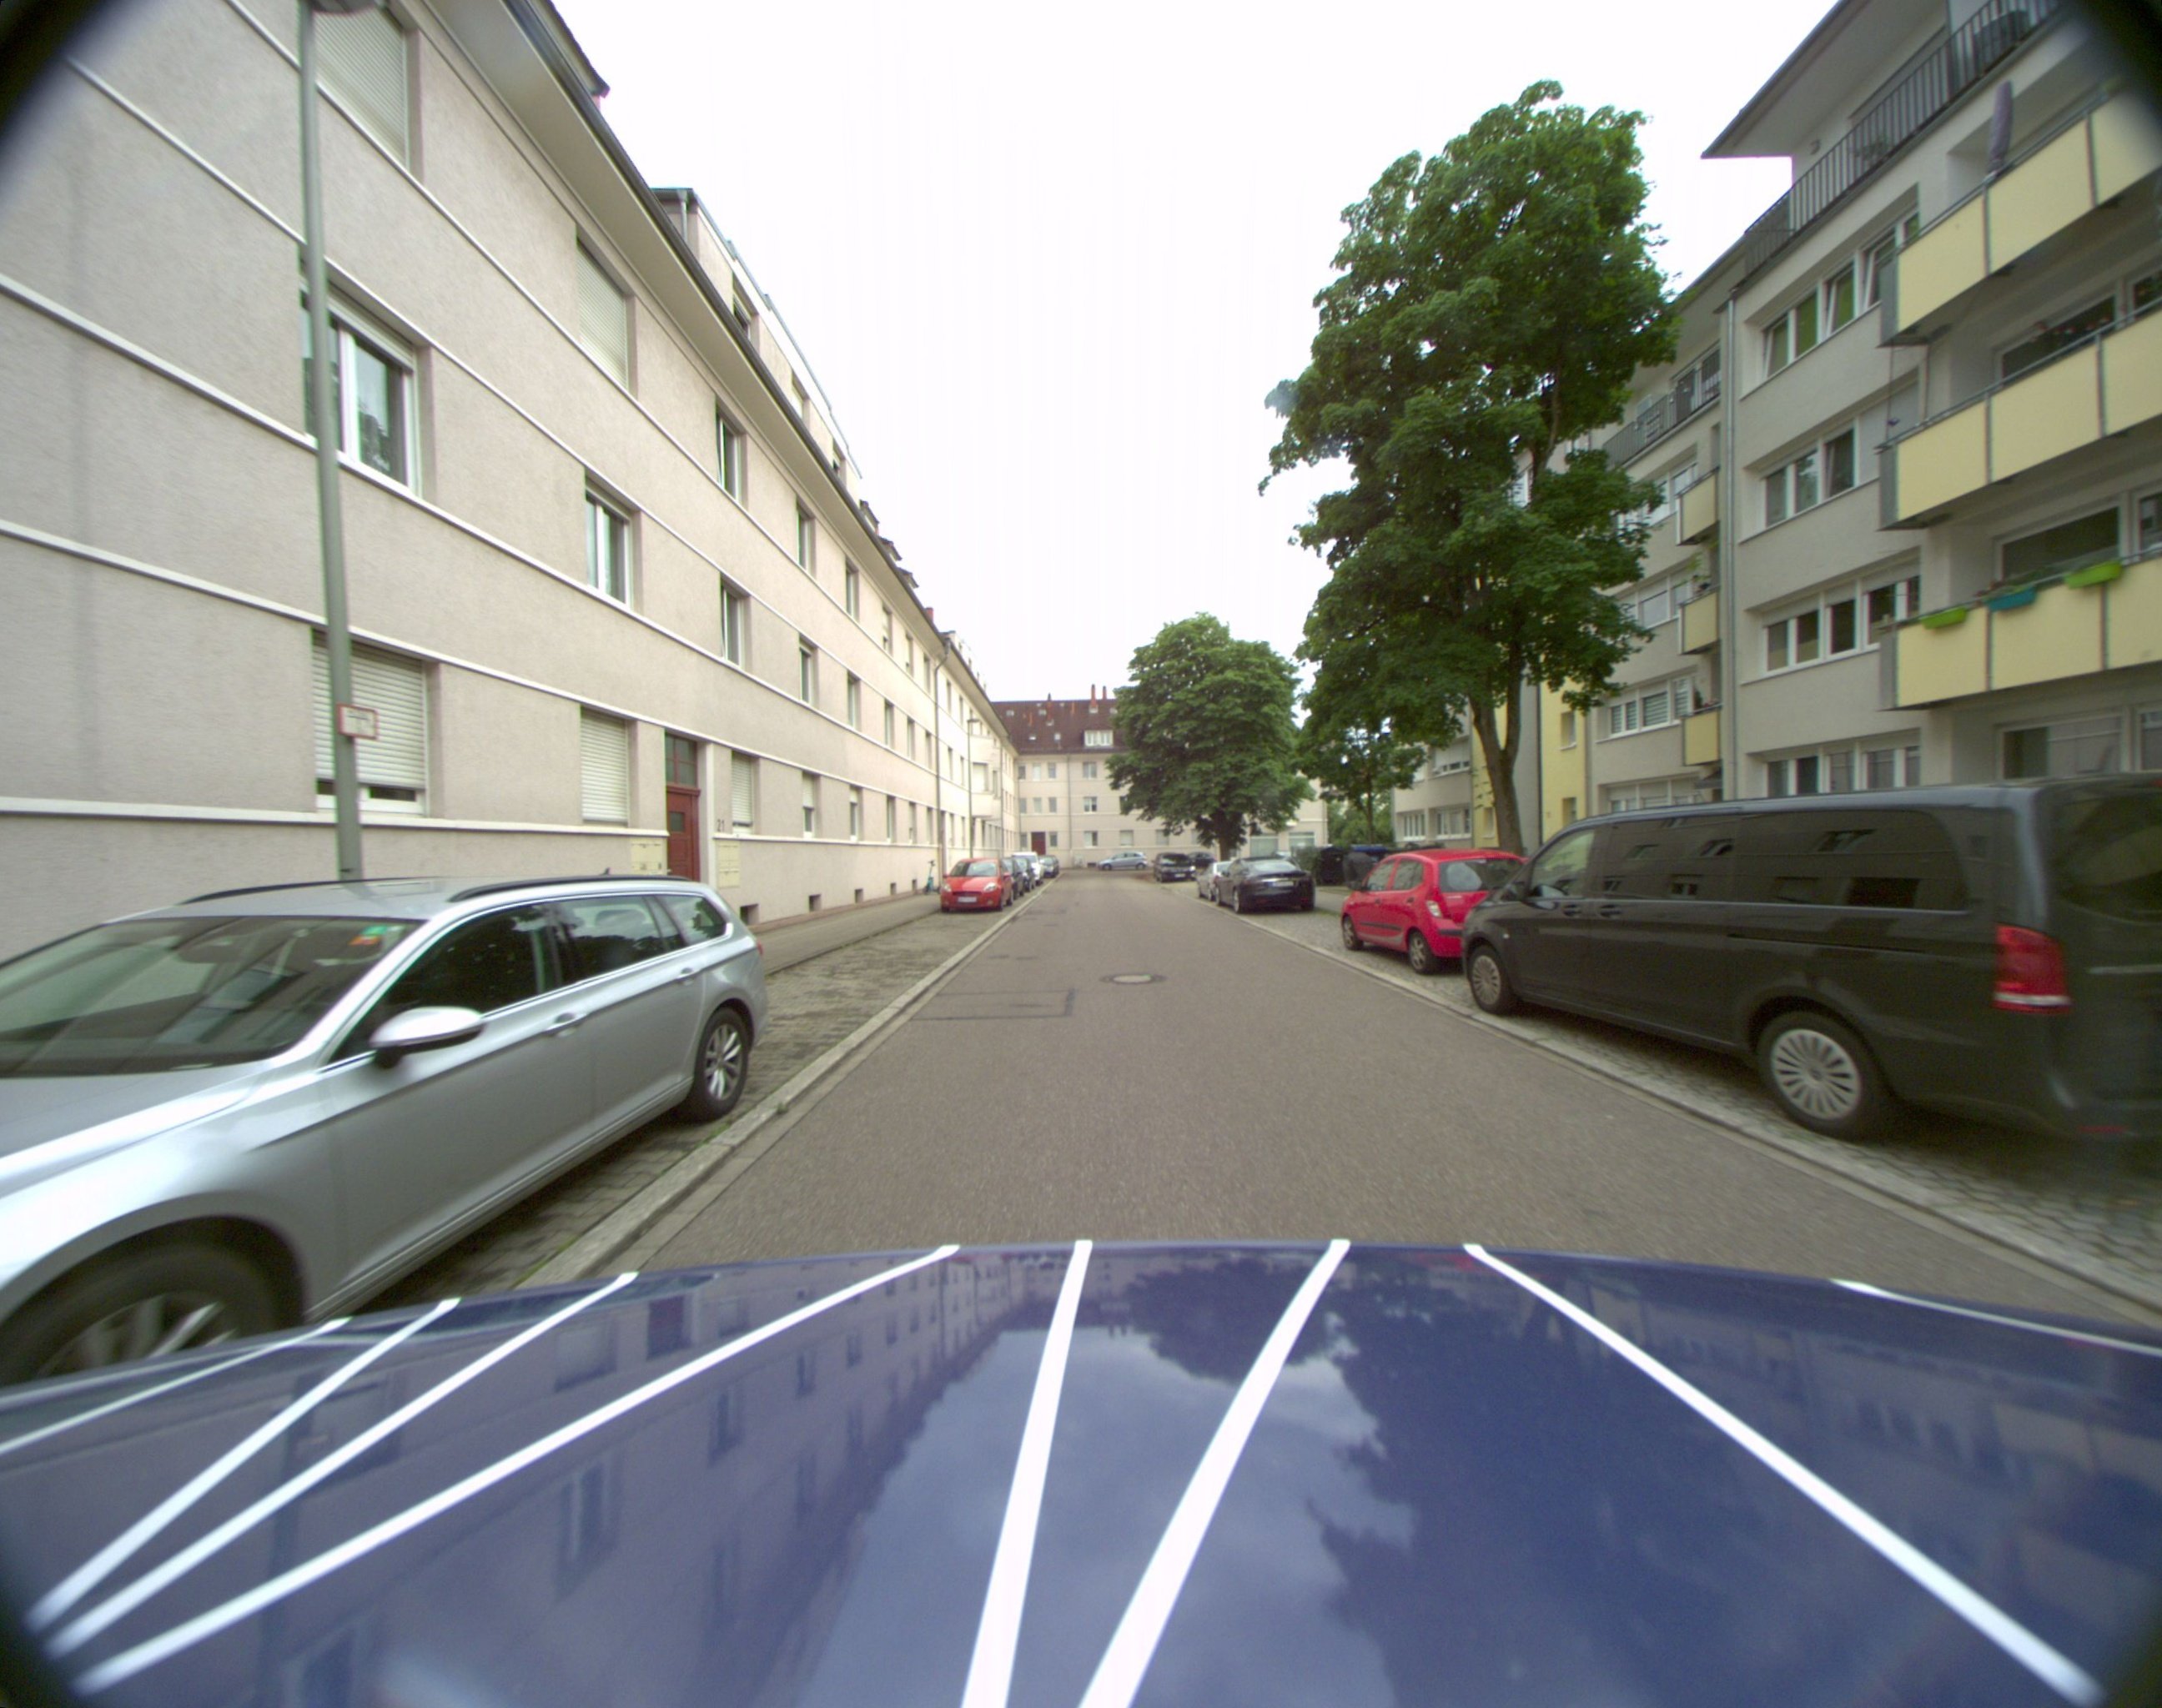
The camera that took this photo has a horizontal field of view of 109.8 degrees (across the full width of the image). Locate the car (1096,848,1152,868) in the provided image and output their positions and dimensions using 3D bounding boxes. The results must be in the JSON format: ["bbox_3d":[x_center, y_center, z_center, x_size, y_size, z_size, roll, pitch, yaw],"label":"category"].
[{"bbox_3d":[3.610,0.323,63.647,4.545,1.551,1.565,-1,1,5],"label":"car"}]

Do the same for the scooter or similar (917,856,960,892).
[{"bbox_3d":[-5.180,0.709,27.717,0.650,1.226,1.473,0,1,36],"label":"scooter or similar"}]

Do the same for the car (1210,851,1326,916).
[{"bbox_3d":[4.873,0.710,20.502,1.919,1.431,4.433,-3,1,-1],"label":"car"}]

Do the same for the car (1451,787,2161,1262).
[{"bbox_3d":[4.734,0.631,5.347,1.891,1.844,4.785,-1,1,0],"label":"car"}]

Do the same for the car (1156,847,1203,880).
[{"bbox_3d":[5.199,0.471,40.677,2.000,1.566,4.209,-3,1,1],"label":"car"}]

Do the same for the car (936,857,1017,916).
[{"bbox_3d":[-2.909,0.862,21.868,1.758,1.477,3.773,0,1,1],"label":"car"}]

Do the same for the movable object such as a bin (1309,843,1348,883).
[{"bbox_3d":[9.182,0.335,28.254,1.184,1.468,0.889,-1,1,4],"label":"movable object such as a bin"}]

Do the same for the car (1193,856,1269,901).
[{"bbox_3d":[4.995,0.766,25.868,1.765,1.257,4.209,-3,1,1],"label":"car"}]

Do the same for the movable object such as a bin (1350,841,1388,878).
[{"bbox_3d":[11.510,0.214,30.379,1.184,1.468,0.889,-1,1,4],"label":"movable object such as a bin"}]

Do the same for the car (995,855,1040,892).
[{"bbox_3d":[-2.698,0.800,32.974,1.587,1.500,3.486,-1,1,1],"label":"car"}]

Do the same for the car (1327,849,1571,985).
[{"bbox_3d":[4.868,0.716,10.640,1.625,1.559,3.613,-1,1,-1],"label":"car"}]

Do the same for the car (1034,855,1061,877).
[{"bbox_3d":[-2.130,0.760,49.184,1.563,1.334,3.788,-1,1,1],"label":"car"}]

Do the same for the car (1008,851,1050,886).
[{"bbox_3d":[-2.580,0.689,38.406,1.764,1.595,3.956,-1,1,1],"label":"car"}]

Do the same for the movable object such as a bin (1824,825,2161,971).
[{"bbox_3d":[11.069,0.444,9.215,1.617,1.515,2.541,-1,1,0],"label":"movable object such as a bin"}]

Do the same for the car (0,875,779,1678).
[{"bbox_3d":[-3.024,0.900,3.243,1.792,1.455,4.039,-1,1,1],"label":"car"}]

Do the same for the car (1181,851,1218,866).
[{"bbox_3d":[9.927,0.367,63.609,2.930,1.277,1.353,-1,1,4],"label":"car"}]

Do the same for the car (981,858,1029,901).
[{"bbox_3d":[-2.722,0.886,27.685,1.353,1.404,3.309,-1,1,1],"label":"car"}]
